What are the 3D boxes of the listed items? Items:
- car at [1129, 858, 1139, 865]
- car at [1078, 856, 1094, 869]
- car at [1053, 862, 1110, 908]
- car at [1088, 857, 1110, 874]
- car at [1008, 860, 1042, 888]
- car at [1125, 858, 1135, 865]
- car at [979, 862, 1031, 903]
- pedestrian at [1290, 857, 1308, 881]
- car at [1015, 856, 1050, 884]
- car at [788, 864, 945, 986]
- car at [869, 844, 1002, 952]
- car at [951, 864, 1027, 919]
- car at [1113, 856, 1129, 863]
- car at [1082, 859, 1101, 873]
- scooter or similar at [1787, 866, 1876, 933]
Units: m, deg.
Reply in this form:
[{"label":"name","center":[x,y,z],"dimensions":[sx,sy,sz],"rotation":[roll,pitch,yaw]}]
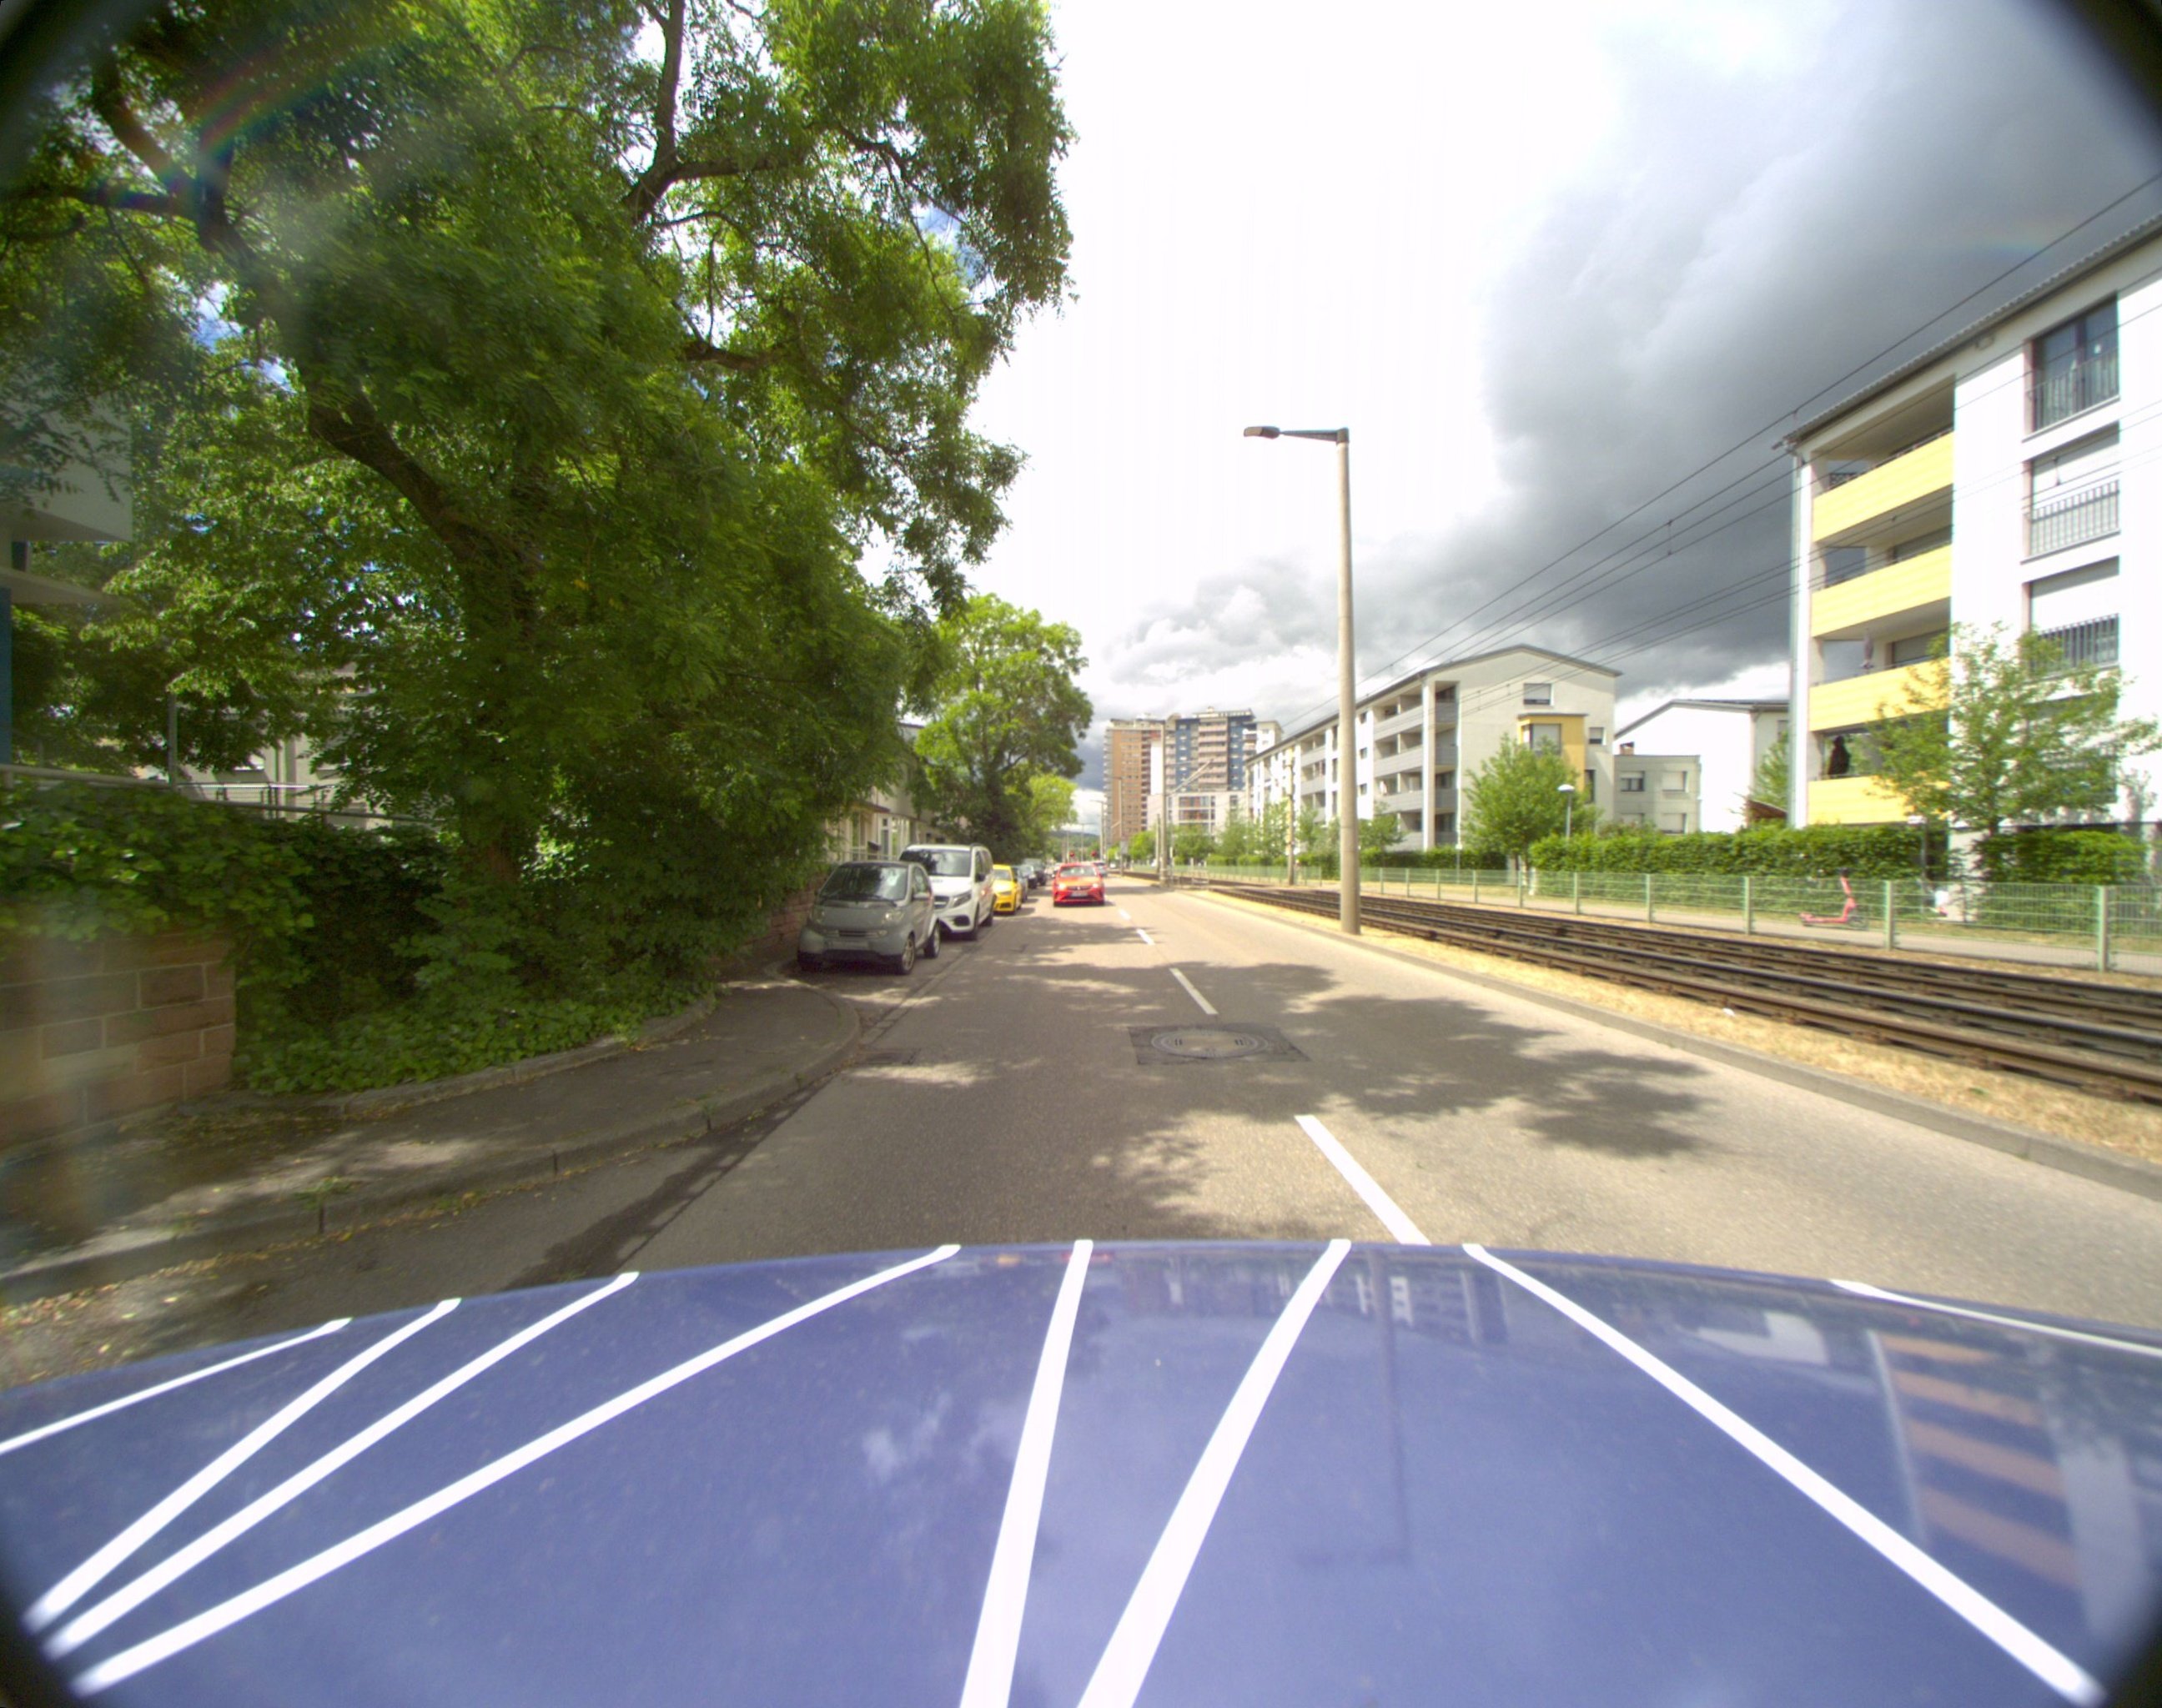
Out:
[{"label":"car","center":[11.781,1.769,169.583],"dimensions":[1.894,1.530,3.803],"rotation":[-1,0,-2]},{"label":"car","center":[0.615,1.127,101.567],"dimensions":[1.863,1.680,4.432],"rotation":[0,0,-4]},{"label":"car","center":[-0.025,1.023,26.491],"dimensions":[1.792,1.387,4.241],"rotation":[-2,0,-1]},{"label":"car","center":[1.762,1.133,75.904],"dimensions":[1.822,1.604,4.601],"rotation":[-2,0,-2]},{"label":"car","center":[-3.256,1.144,44.485],"dimensions":[1.839,1.497,4.241],"rotation":[0,0,-2]},{"label":"car","center":[11.360,1.727,175.592],"dimensions":[1.781,1.530,3.802],"rotation":[-1,0,-3]},{"label":"car","center":[-2.897,1.071,29.688],"dimensions":[1.760,1.434,4.492],"rotation":[0,0,-2]},{"label":"pedestrian","center":[13.610,0.931,47.386],"dimensions":[0.798,1.474,0.995],"rotation":[-1,0,-3]},{"label":"car","center":[-3.148,1.012,50.415],"dimensions":[2.020,1.778,5.075],"rotation":[0,0,0]},{"label":"car","center":[-3.035,0.941,11.280],"dimensions":[1.517,1.525,2.847],"rotation":[1,0,-1]},{"label":"car","center":[-2.942,0.804,16.664],"dimensions":[1.919,1.947,5.744],"rotation":[0,0,-1]},{"label":"car","center":[-2.664,1.042,22.884],"dimensions":[1.760,1.434,4.340],"rotation":[1,0,-1]},{"label":"car","center":[11.113,1.669,213.213],"dimensions":[4.506,1.914,1.877],"rotation":[0,0,-43]},{"label":"car","center":[1.181,1.287,85.139],"dimensions":[1.822,1.494,4.836],"rotation":[-2,0,-3]},{"label":"scooter or similar","center":[15.107,0.887,15.333],"dimensions":[0.491,1.285,1.302],"rotation":[-1,0,0]}]
